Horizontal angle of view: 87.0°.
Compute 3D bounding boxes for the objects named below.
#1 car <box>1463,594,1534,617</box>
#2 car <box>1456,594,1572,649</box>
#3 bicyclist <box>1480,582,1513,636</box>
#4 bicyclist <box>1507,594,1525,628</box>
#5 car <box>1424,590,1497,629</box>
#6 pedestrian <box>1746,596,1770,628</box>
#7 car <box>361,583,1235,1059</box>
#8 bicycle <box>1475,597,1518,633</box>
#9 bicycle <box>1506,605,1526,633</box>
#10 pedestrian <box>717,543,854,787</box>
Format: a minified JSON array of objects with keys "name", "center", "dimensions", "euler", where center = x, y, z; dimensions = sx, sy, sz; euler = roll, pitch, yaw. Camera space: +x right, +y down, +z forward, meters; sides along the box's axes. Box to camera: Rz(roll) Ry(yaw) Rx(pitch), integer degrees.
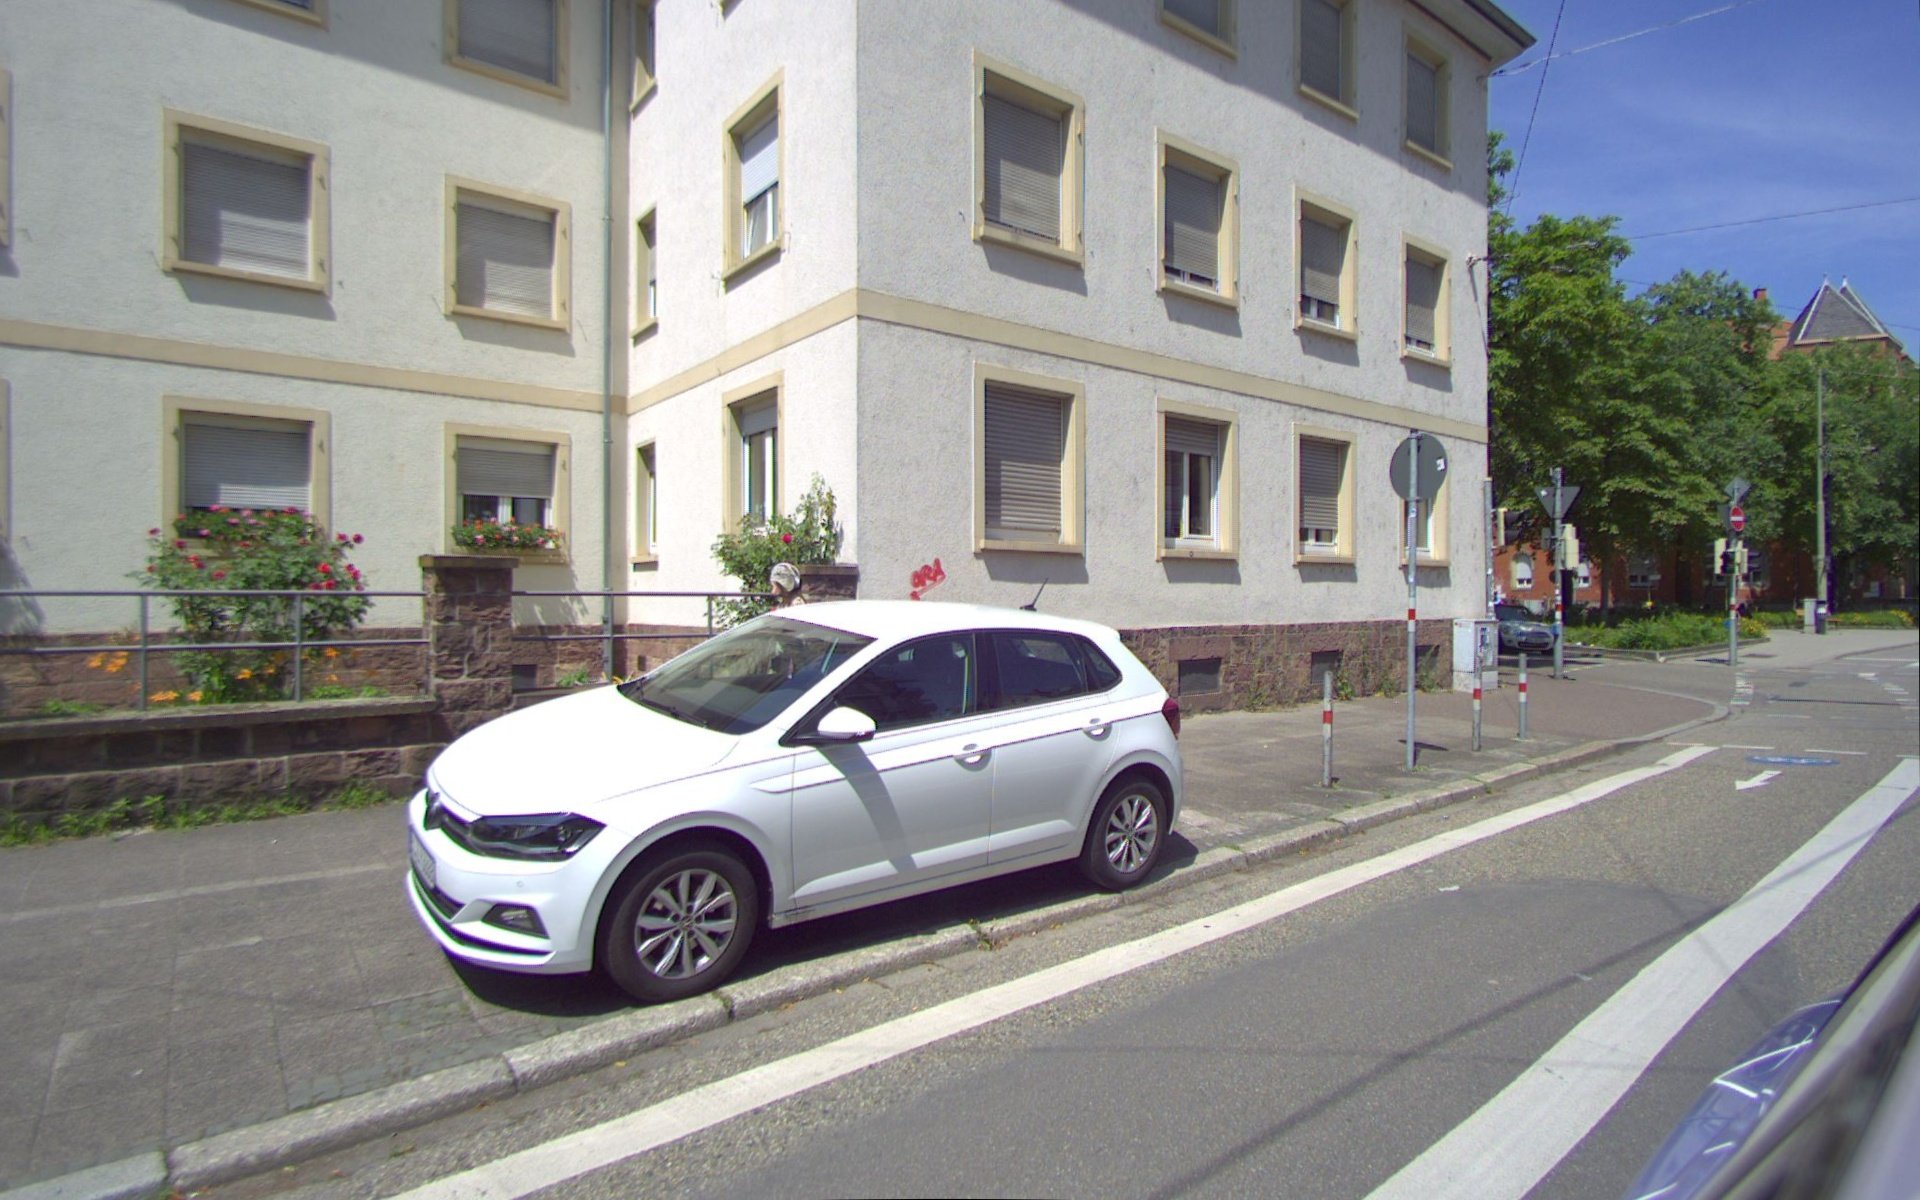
[{"name":"car","center":[36.486,0.403,68.651],"dimensions":[1.610,1.470,4.327],"euler":[-1,0,-18]},{"name":"car","center":[16.140,0.590,29.680],"dimensions":[1.666,1.464,3.621],"euler":[1,0,5]},{"name":"bicyclist","center":[18.014,0.312,34.006],"dimensions":[0.687,1.789,0.862],"euler":[-1,-1,9]},{"name":"bicyclist","center":[26.999,0.540,49.115],"dimensions":[0.636,1.644,0.852],"euler":[-2,-1,35]},{"name":"car","center":[21.398,0.398,43.200],"dimensions":[1.609,1.583,4.001],"euler":[-2,-1,45]},{"name":"pedestrian","center":[29.670,0.448,37.643],"dimensions":[0.648,1.165,0.634],"euler":[-2,-1,37]},{"name":"car","center":[-0.592,0.677,5.196],"dimensions":[4.081,1.427,1.782],"euler":[-1,4,-39]},{"name":"bicycle","center":[18.002,0.499,33.977],"dimensions":[0.670,1.170,1.800],"euler":[-1,0,8]},{"name":"bicycle","center":[26.994,0.912,49.097],"dimensions":[0.636,1.309,1.906],"euler":[-2,-1,35]},{"name":"pedestrian","center":[-1.300,0.452,7.534],"dimensions":[0.742,1.691,0.699],"euler":[0,-1,-39]}]
